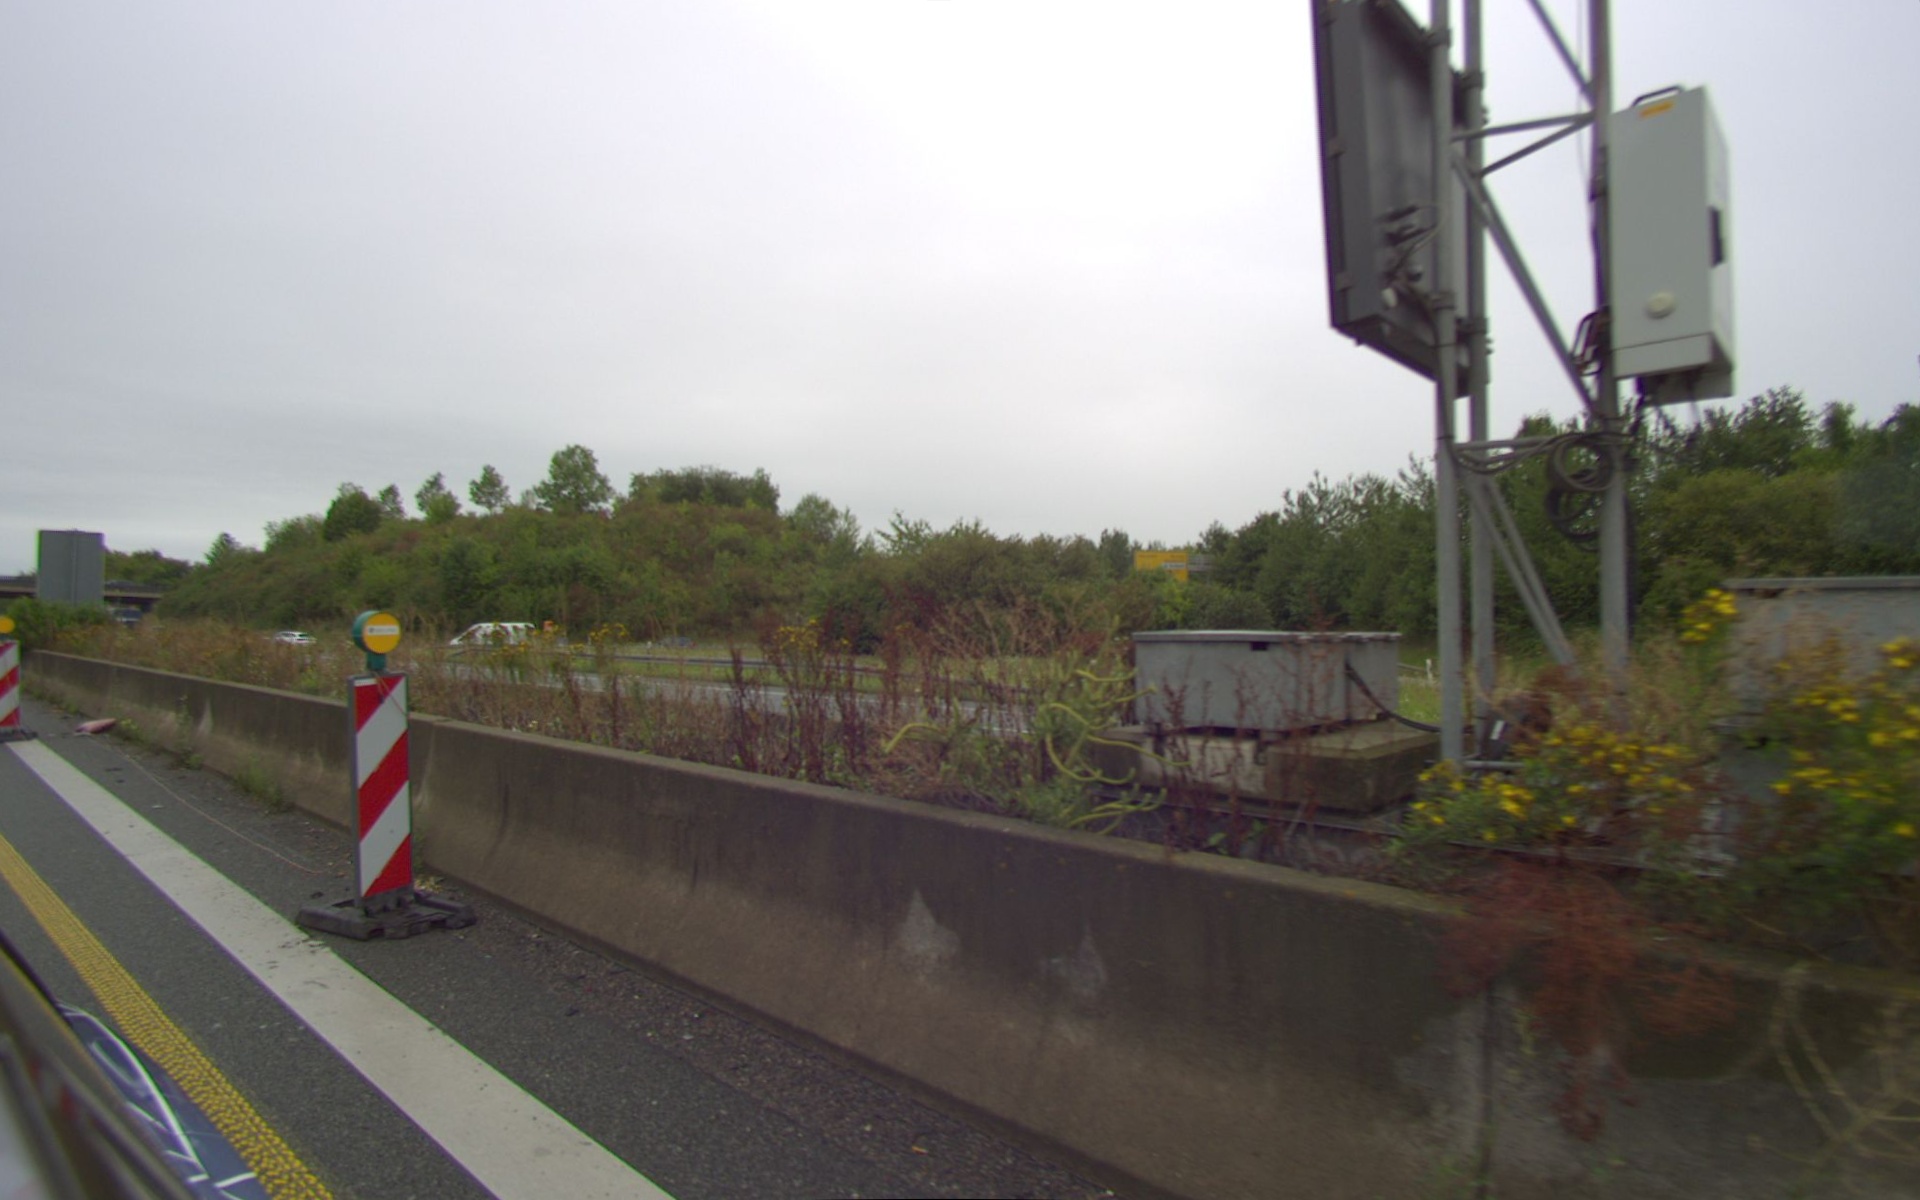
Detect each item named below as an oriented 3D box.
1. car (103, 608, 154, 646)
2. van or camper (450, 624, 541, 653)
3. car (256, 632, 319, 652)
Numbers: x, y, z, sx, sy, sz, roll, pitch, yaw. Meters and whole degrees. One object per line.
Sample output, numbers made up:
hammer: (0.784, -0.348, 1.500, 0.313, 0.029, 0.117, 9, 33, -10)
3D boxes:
car: (-61.125, 1.930, 74.357, 5.845, 2.629, 2.029, 0, 0, 42)
van or camper: (-34.345, 2.838, 74.865, 5.761, 2.029, 2.001, 1, -2, -2)
car: (-51.391, 3.195, 77.326, 3.966, 1.414, 1.909, 0, -2, 18)
